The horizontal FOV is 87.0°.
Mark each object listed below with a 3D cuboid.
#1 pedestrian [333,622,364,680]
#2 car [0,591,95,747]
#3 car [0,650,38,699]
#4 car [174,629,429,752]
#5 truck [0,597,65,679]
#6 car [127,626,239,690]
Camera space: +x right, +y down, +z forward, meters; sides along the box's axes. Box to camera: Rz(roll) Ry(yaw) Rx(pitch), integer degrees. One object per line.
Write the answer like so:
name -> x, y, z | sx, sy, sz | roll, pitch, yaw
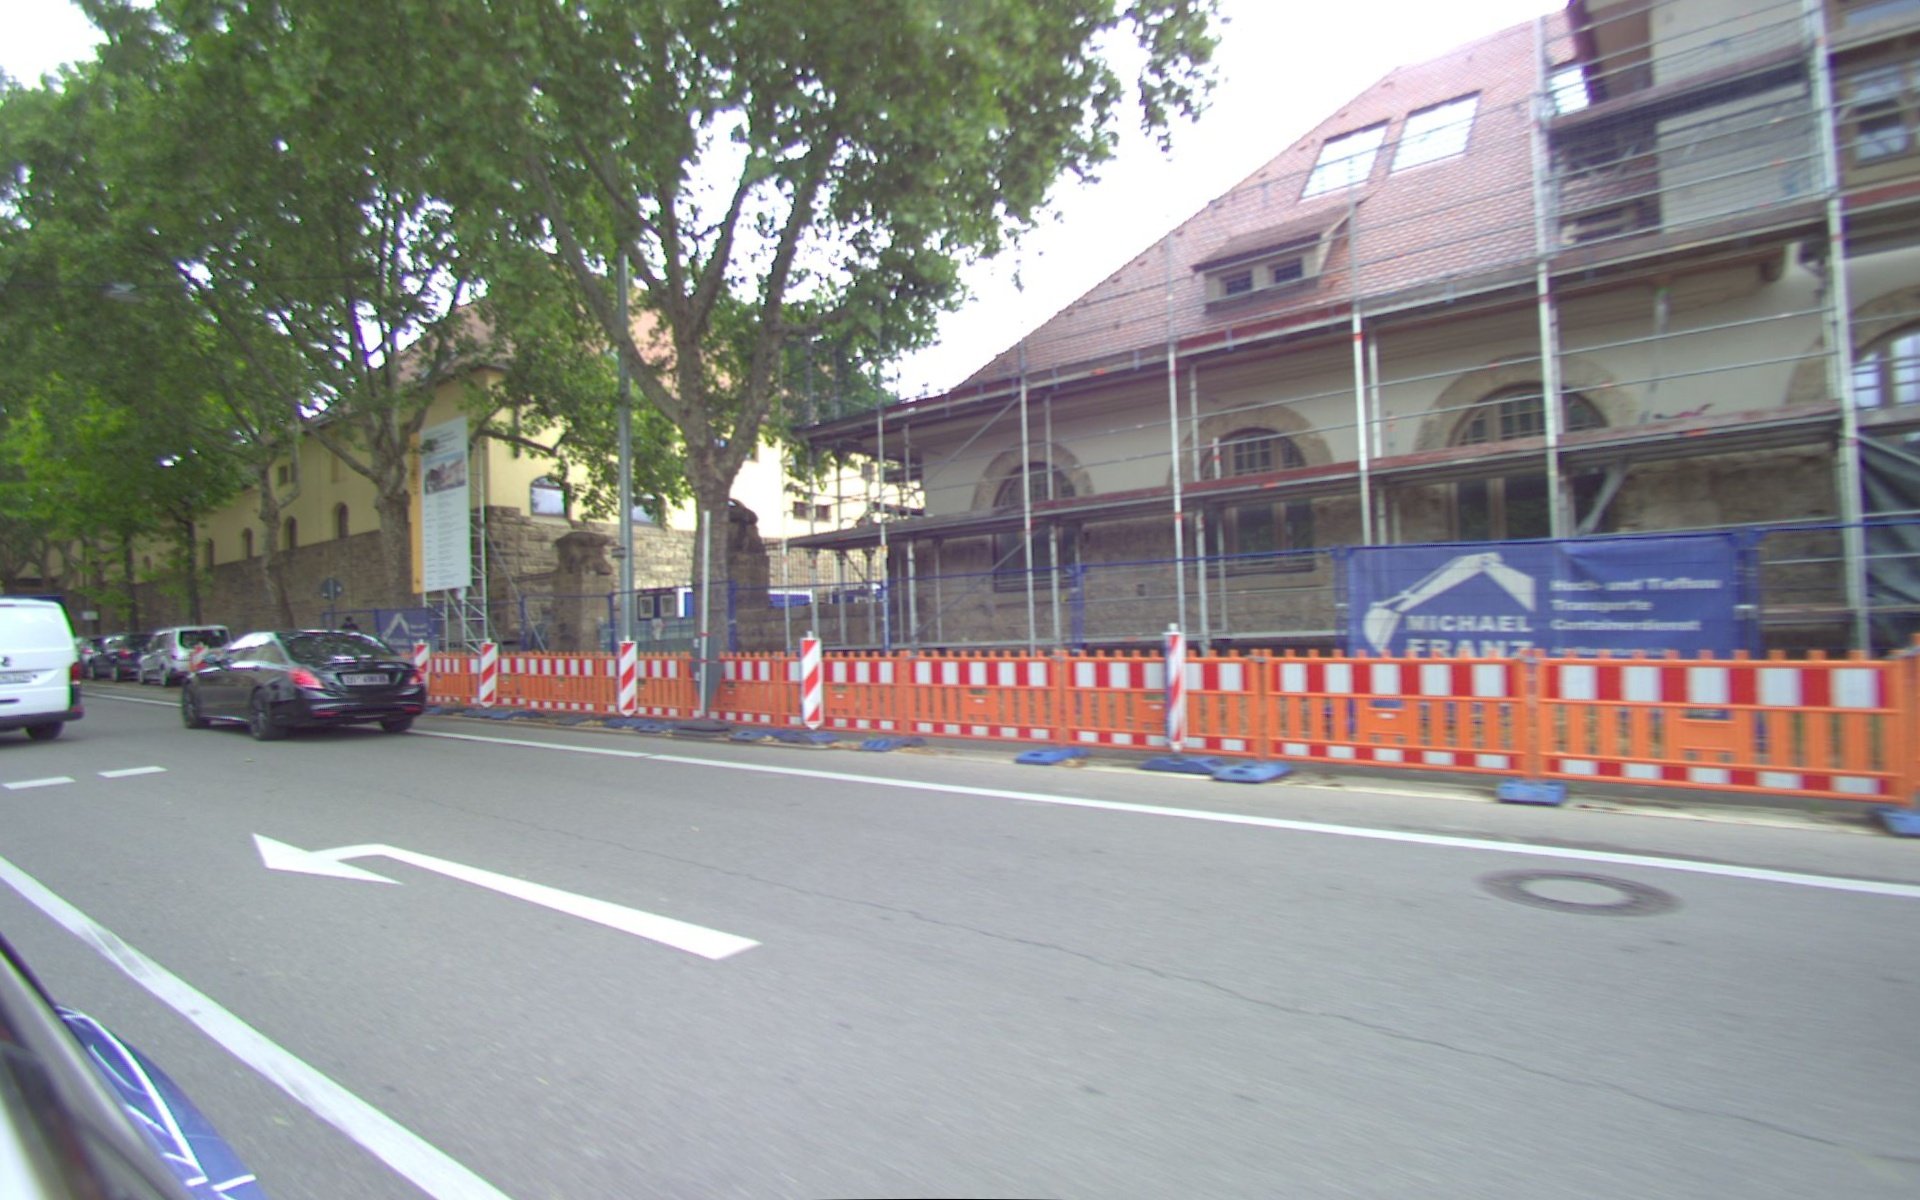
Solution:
pedestrian -> -19.448, 1.604, 32.184 | 0.742, 1.813, 0.587 | -1, 0, 39
car -> -14.423, 0.929, 13.641 | 5.208, 1.946, 2.194 | -2, 0, 24
car -> -30.502, 2.312, 31.720 | 4.243, 1.437, 1.683 | -2, -2, 38
car -> -9.665, 1.181, 14.688 | 4.845, 1.483, 1.783 | -2, -2, 40
truck -> -43.542, 1.722, 46.494 | 7.235, 3.442, 2.195 | -2, 0, 37
car -> -24.595, 1.784, 31.994 | 4.411, 1.891, 1.816 | -2, -2, 39
